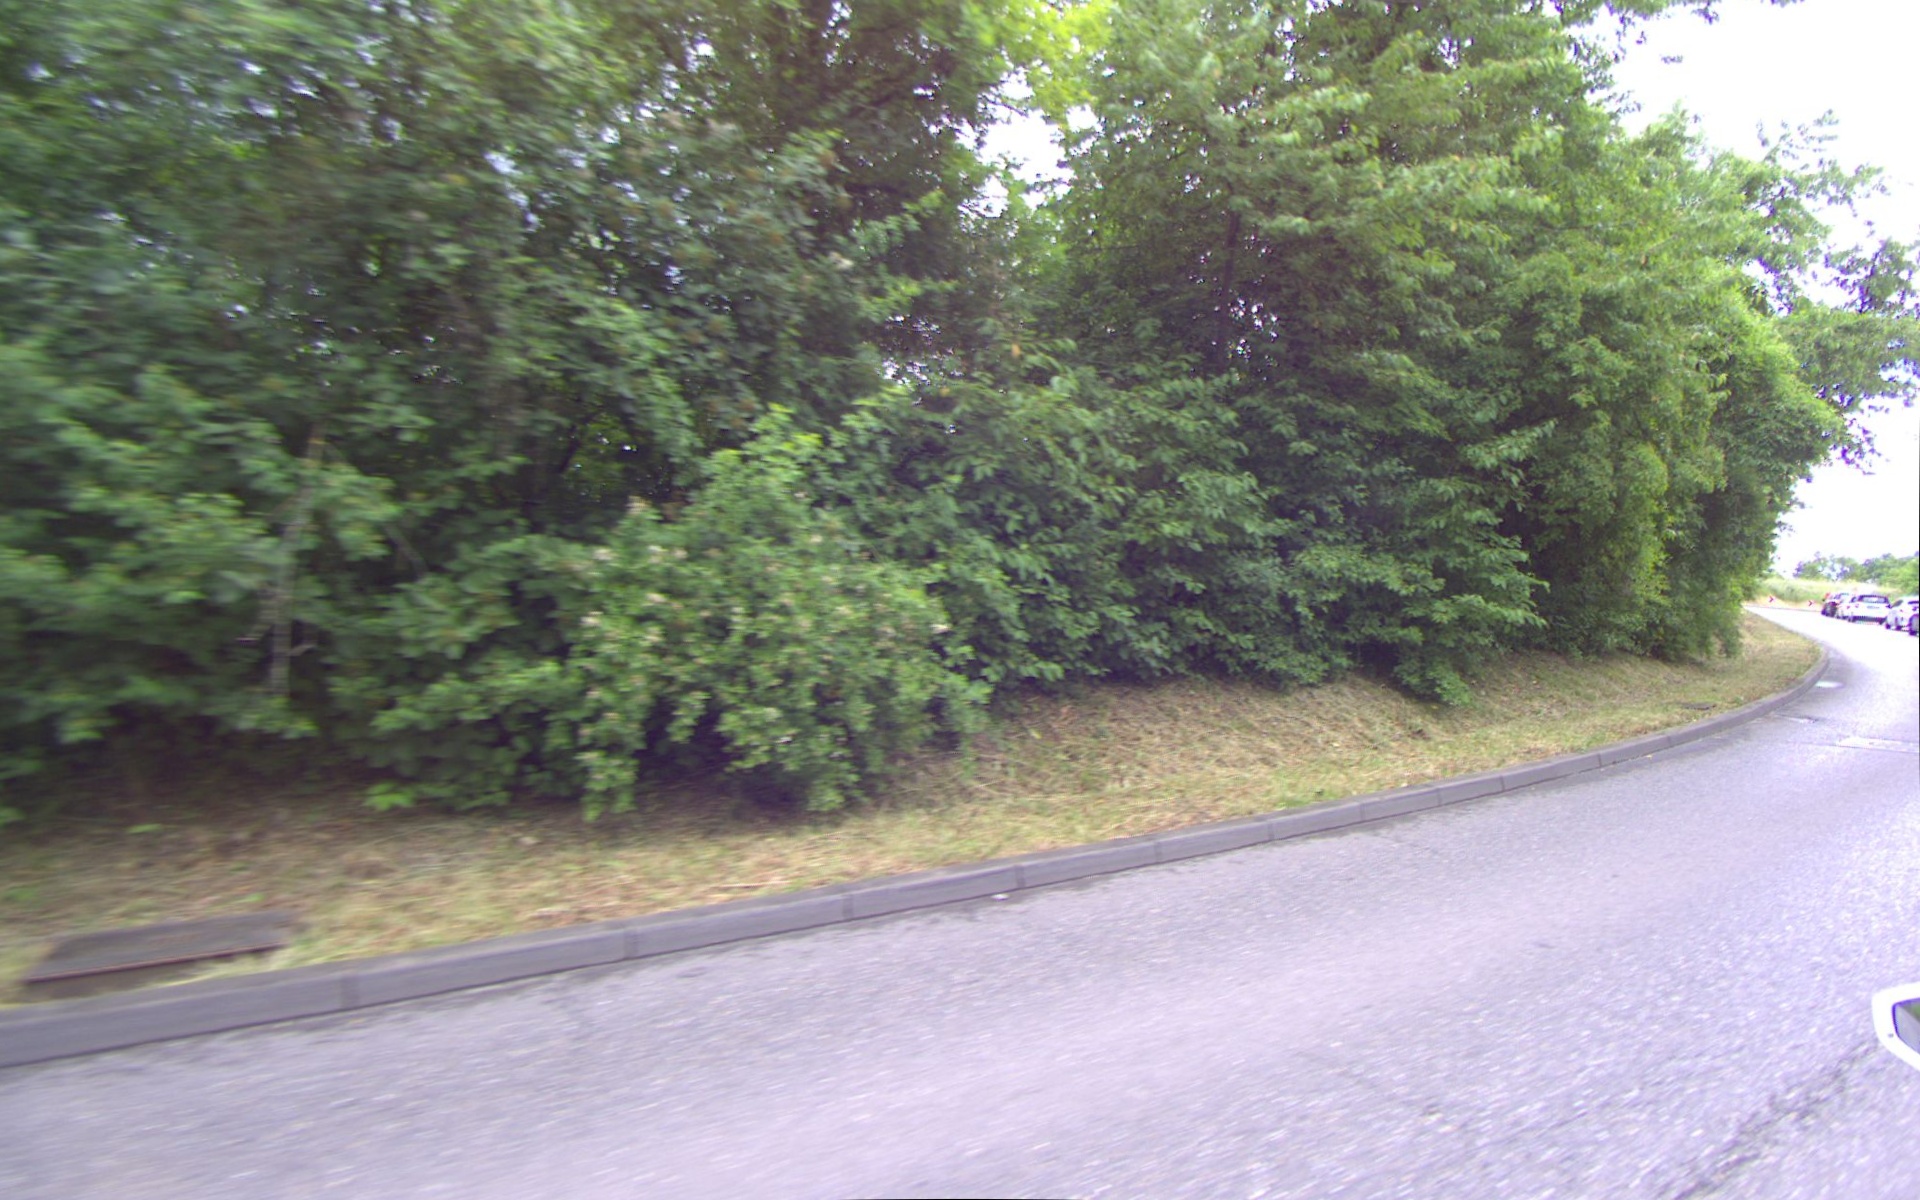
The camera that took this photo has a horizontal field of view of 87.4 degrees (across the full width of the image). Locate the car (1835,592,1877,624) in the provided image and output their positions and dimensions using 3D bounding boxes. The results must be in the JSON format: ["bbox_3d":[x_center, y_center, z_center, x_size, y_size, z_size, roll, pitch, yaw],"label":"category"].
[{"bbox_3d":[52.727,0.476,59.165,1.750,1.655,3.873,2,-1,41],"label":"car"}]

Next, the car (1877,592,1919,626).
[{"bbox_3d":[42.306,0.377,44.669,1.816,1.406,3.984,2,2,37],"label":"car"}]

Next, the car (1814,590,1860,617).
[{"bbox_3d":[64.595,0.288,74.045,1.966,1.806,3.989,4,1,33],"label":"car"}]

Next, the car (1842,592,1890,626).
[{"bbox_3d":[48.088,0.510,53.378,1.750,1.655,3.873,2,0,41],"label":"car"}]

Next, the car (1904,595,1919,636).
[{"bbox_3d":[37.143,0.596,37.925,1.817,1.406,3.982,3,3,39],"label":"car"}]
